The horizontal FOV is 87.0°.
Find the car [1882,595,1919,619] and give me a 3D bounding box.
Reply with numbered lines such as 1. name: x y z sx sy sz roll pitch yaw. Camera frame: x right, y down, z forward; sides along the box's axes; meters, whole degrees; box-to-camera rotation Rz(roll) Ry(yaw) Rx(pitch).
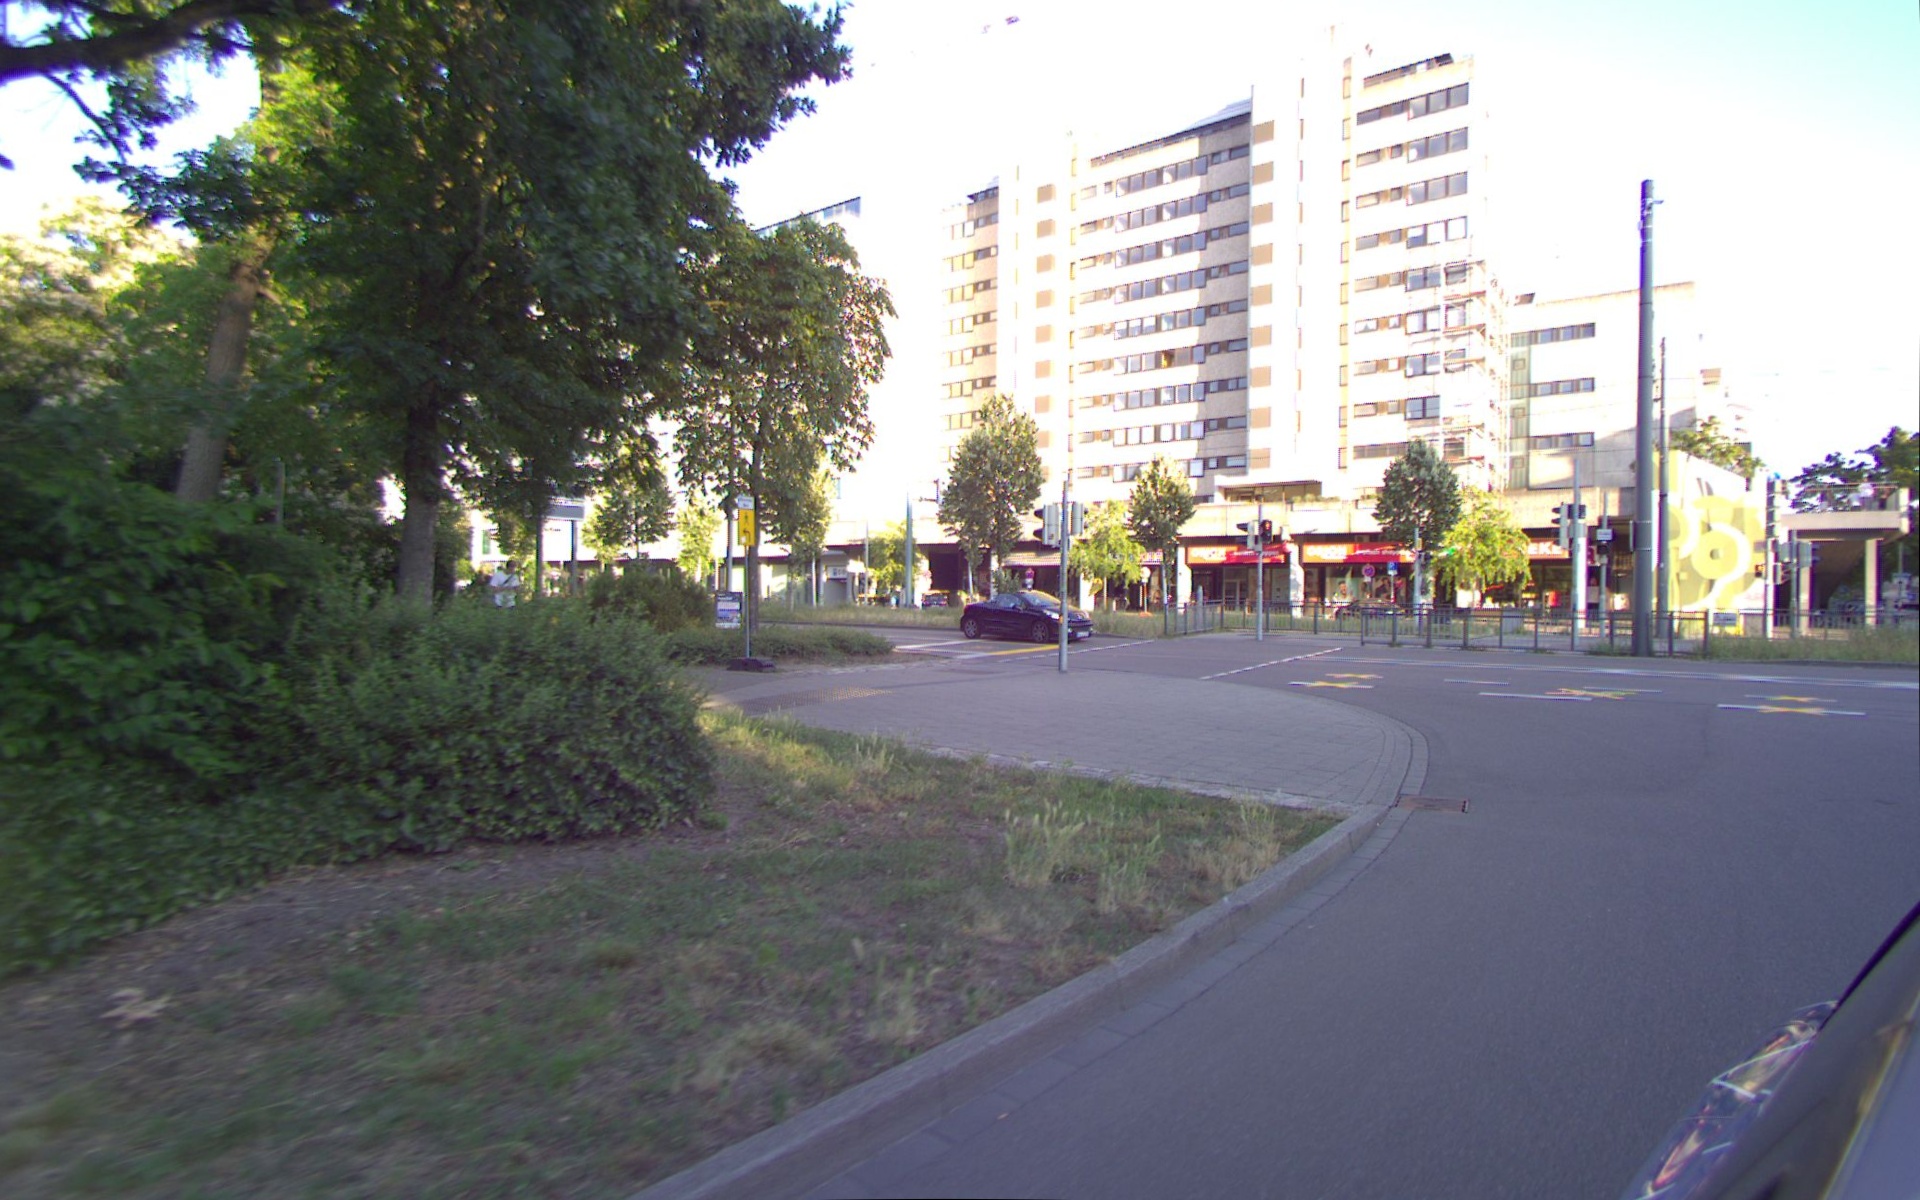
1. car: 57.744 0.411 59.803 4.618 1.415 1.973 1 1 38

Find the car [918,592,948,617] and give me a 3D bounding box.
1. car: -1.846 0.247 66.953 1.688 1.581 4.336 0 1 -5

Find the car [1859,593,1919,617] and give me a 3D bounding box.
1. car: 64.488 0.310 68.977 4.618 1.580 1.973 1 1 38

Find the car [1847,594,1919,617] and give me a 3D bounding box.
1. car: 66.024 0.403 71.713 4.618 1.580 1.973 1 1 38

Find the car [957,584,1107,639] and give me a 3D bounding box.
1. car: 1.899 0.264 27.578 3.897 1.405 1.772 1 1 45

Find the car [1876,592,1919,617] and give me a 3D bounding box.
1. car: 61.057 0.299 63.869 4.618 1.580 1.973 1 1 38

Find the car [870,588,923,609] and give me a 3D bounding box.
1. car: -4.994 -0.152 80.236 1.716 1.581 4.266 0 1 41

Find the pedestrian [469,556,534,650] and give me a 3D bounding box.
1. pedestrian: -8.965 0.055 19.781 0.956 1.777 0.739 0 0 30

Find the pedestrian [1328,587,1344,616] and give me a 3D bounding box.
1. pedestrian: 21.065 0.084 56.666 0.720 1.634 0.649 0 0 32

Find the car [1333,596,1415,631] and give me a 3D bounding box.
1. car: 20.127 0.631 49.403 1.922 1.581 4.350 0 1 -5
